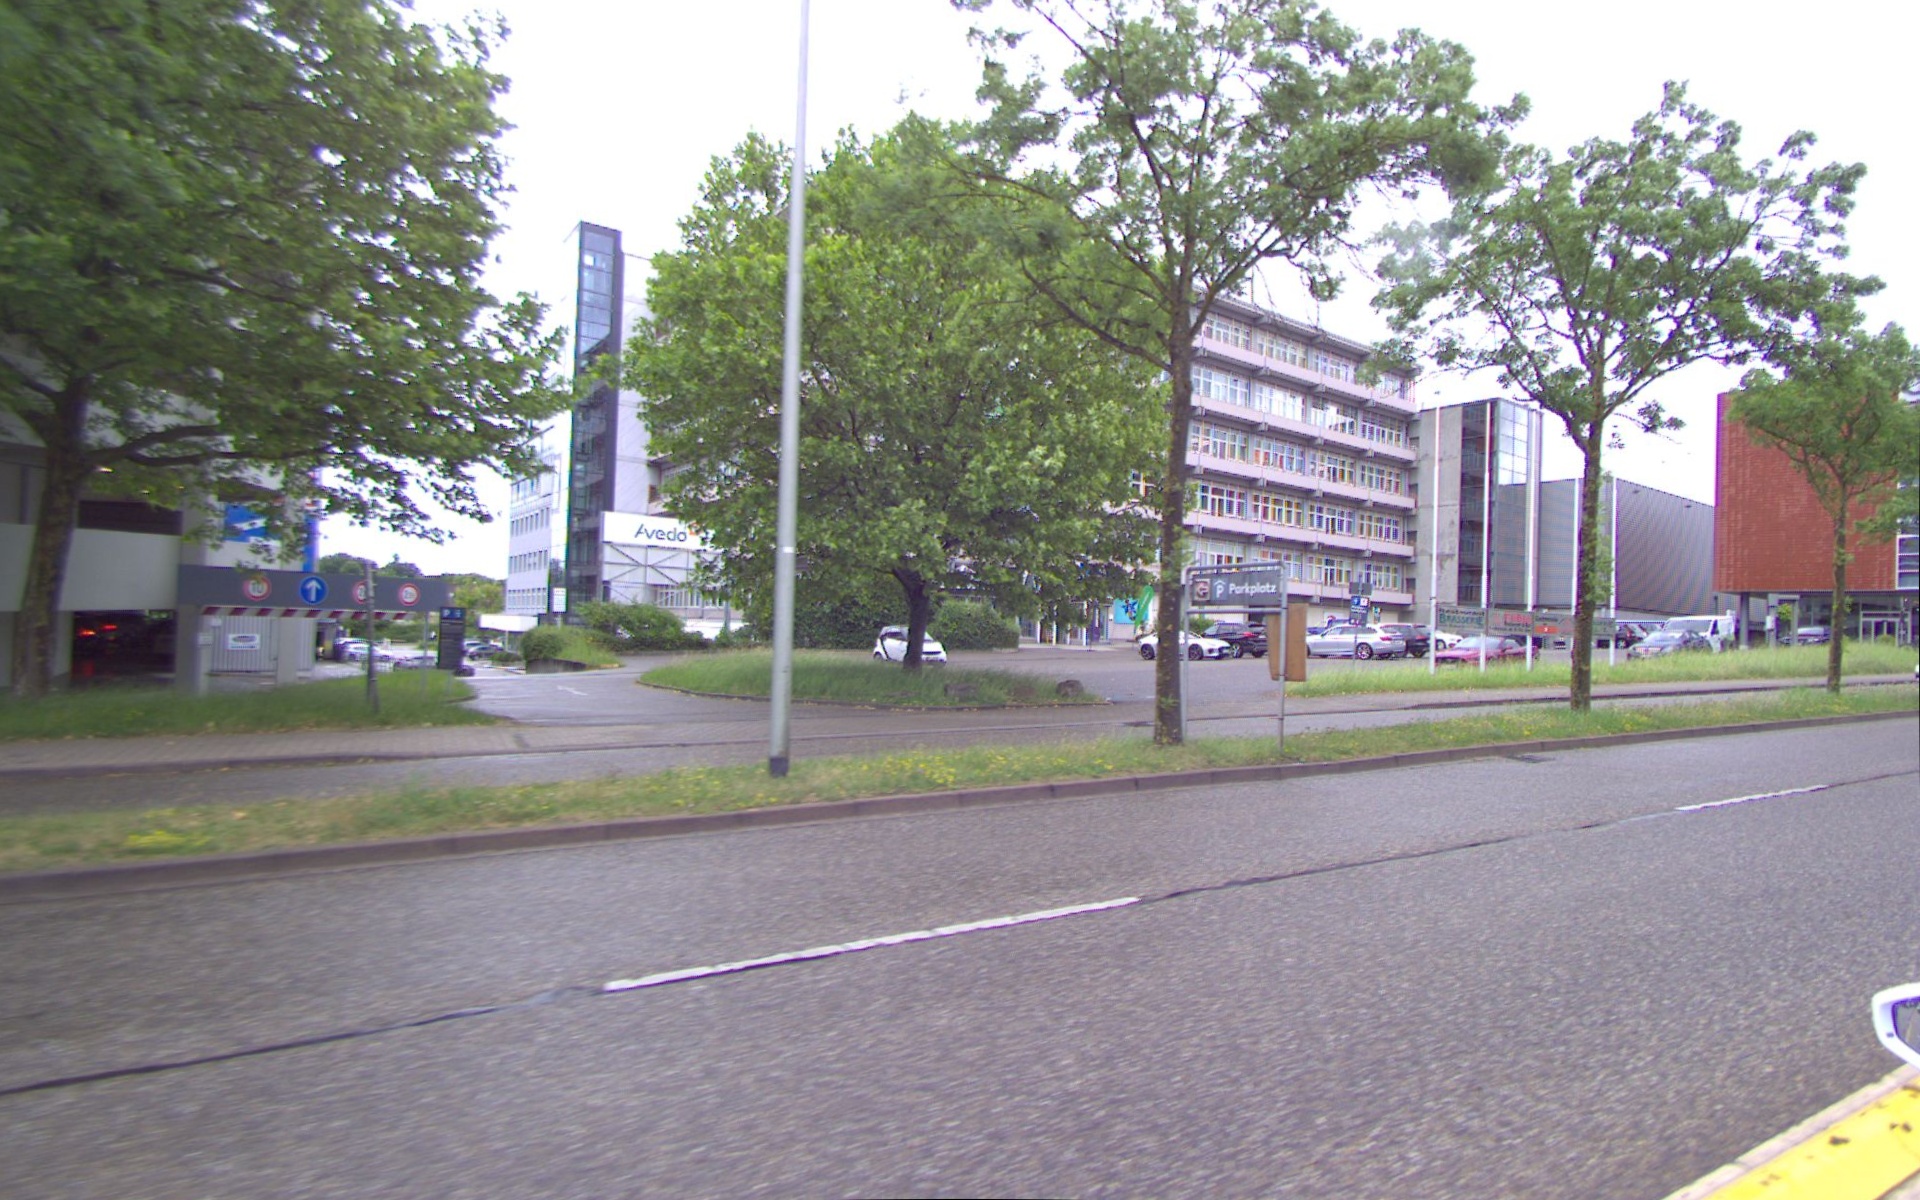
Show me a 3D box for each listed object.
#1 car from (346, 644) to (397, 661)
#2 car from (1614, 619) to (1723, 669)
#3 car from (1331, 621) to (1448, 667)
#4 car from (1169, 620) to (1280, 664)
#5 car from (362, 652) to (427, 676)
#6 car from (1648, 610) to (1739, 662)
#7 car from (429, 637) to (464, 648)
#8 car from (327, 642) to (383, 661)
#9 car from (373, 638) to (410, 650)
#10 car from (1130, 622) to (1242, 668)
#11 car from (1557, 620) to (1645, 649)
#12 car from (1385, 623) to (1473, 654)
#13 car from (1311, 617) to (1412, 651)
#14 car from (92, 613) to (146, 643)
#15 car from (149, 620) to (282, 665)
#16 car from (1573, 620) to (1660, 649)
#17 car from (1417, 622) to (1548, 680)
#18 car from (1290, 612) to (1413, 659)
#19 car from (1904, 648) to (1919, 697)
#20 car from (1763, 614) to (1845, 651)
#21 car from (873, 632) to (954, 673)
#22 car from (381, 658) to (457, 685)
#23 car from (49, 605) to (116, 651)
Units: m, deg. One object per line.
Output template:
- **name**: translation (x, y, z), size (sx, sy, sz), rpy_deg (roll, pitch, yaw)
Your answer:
- **car**: translation (-54.597, 4.848, 93.151), size (3.959, 1.530, 1.783), rpy_deg (2, -2, -34)
- **car**: translation (29.069, 1.748, 41.183), size (4.893, 1.786, 2.027), rpy_deg (0, 1, -34)
- **car**: translation (19.091, 1.906, 44.834), size (1.883, 1.769, 4.464), rpy_deg (0, 1, -38)
- **car**: translation (12.121, 1.867, 46.205), size (2.117, 1.769, 4.558), rpy_deg (0, 1, -41)
- **car**: translation (-40.583, 4.593, 72.091), size (3.958, 1.530, 1.783), rpy_deg (2, 1, -34)
- **car**: translation (33.150, 1.553, 45.351), size (5.078, 2.124, 2.096), rpy_deg (0, 1, -40)
- **car**: translation (-69.191, 5.702, 135.334), size (3.961, 1.530, 1.782), rpy_deg (2, -2, -36)
- **car**: translation (-50.891, 4.324, 84.537), size (3.953, 1.530, 1.786), rpy_deg (1, -2, -30)
- **car**: translation (-72.507, 5.604, 128.149), size (3.961, 1.530, 1.782), rpy_deg (2, -2, -36)
- **car**: translation (9.884, 1.929, 44.184), size (1.952, 1.769, 4.558), rpy_deg (0, 1, -41)
- **car**: translation (38.198, 2.022, 59.921), size (1.803, 1.530, 4.077), rpy_deg (0, 1, -38)
- **car**: translation (26.952, 2.168, 57.788), size (1.831, 1.530, 4.243), rpy_deg (0, 1, -38)
- **car**: translation (20.982, 1.732, 52.633), size (2.007, 1.530, 4.575), rpy_deg (0, 1, -38)
- **car**: translation (-43.580, 1.450, 52.110), size (1.782, 1.530, 3.961), rpy_deg (1, -2, -35)
- **car**: translation (-28.421, 1.572, 38.489), size (1.717, 1.481, 3.846), rpy_deg (3, 0, 16)
- **car**: translation (40.053, 2.064, 61.337), size (1.803, 1.530, 4.077), rpy_deg (0, 1, -38)
- **car**: translation (17.225, 1.619, 33.050), size (4.664, 1.630, 1.920), rpy_deg (0, 1, -36)
- **car**: translation (16.764, 1.480, 43.189), size (1.949, 1.769, 4.563), rpy_deg (0, 1, -38)
- **car**: translation (32.844, 2.341, 32.736), size (4.523, 1.573, 1.858), rpy_deg (1, -3, -31)
- **car**: translation (45.244, 1.684, 53.841), size (4.557, 1.797, 2.125), rpy_deg (0, 1, -33)
- **car**: translation (-1.686, 1.847, 35.778), size (1.597, 1.383, 2.674), rpy_deg (0, -2, -40)
- **car**: translation (-33.837, 4.420, 62.812), size (3.963, 1.530, 1.781), rpy_deg (2, -2, -37)
- **car**: translation (-37.039, 1.165, 42.477), size (1.844, 1.718, 3.957), rpy_deg (2, 1, -37)
